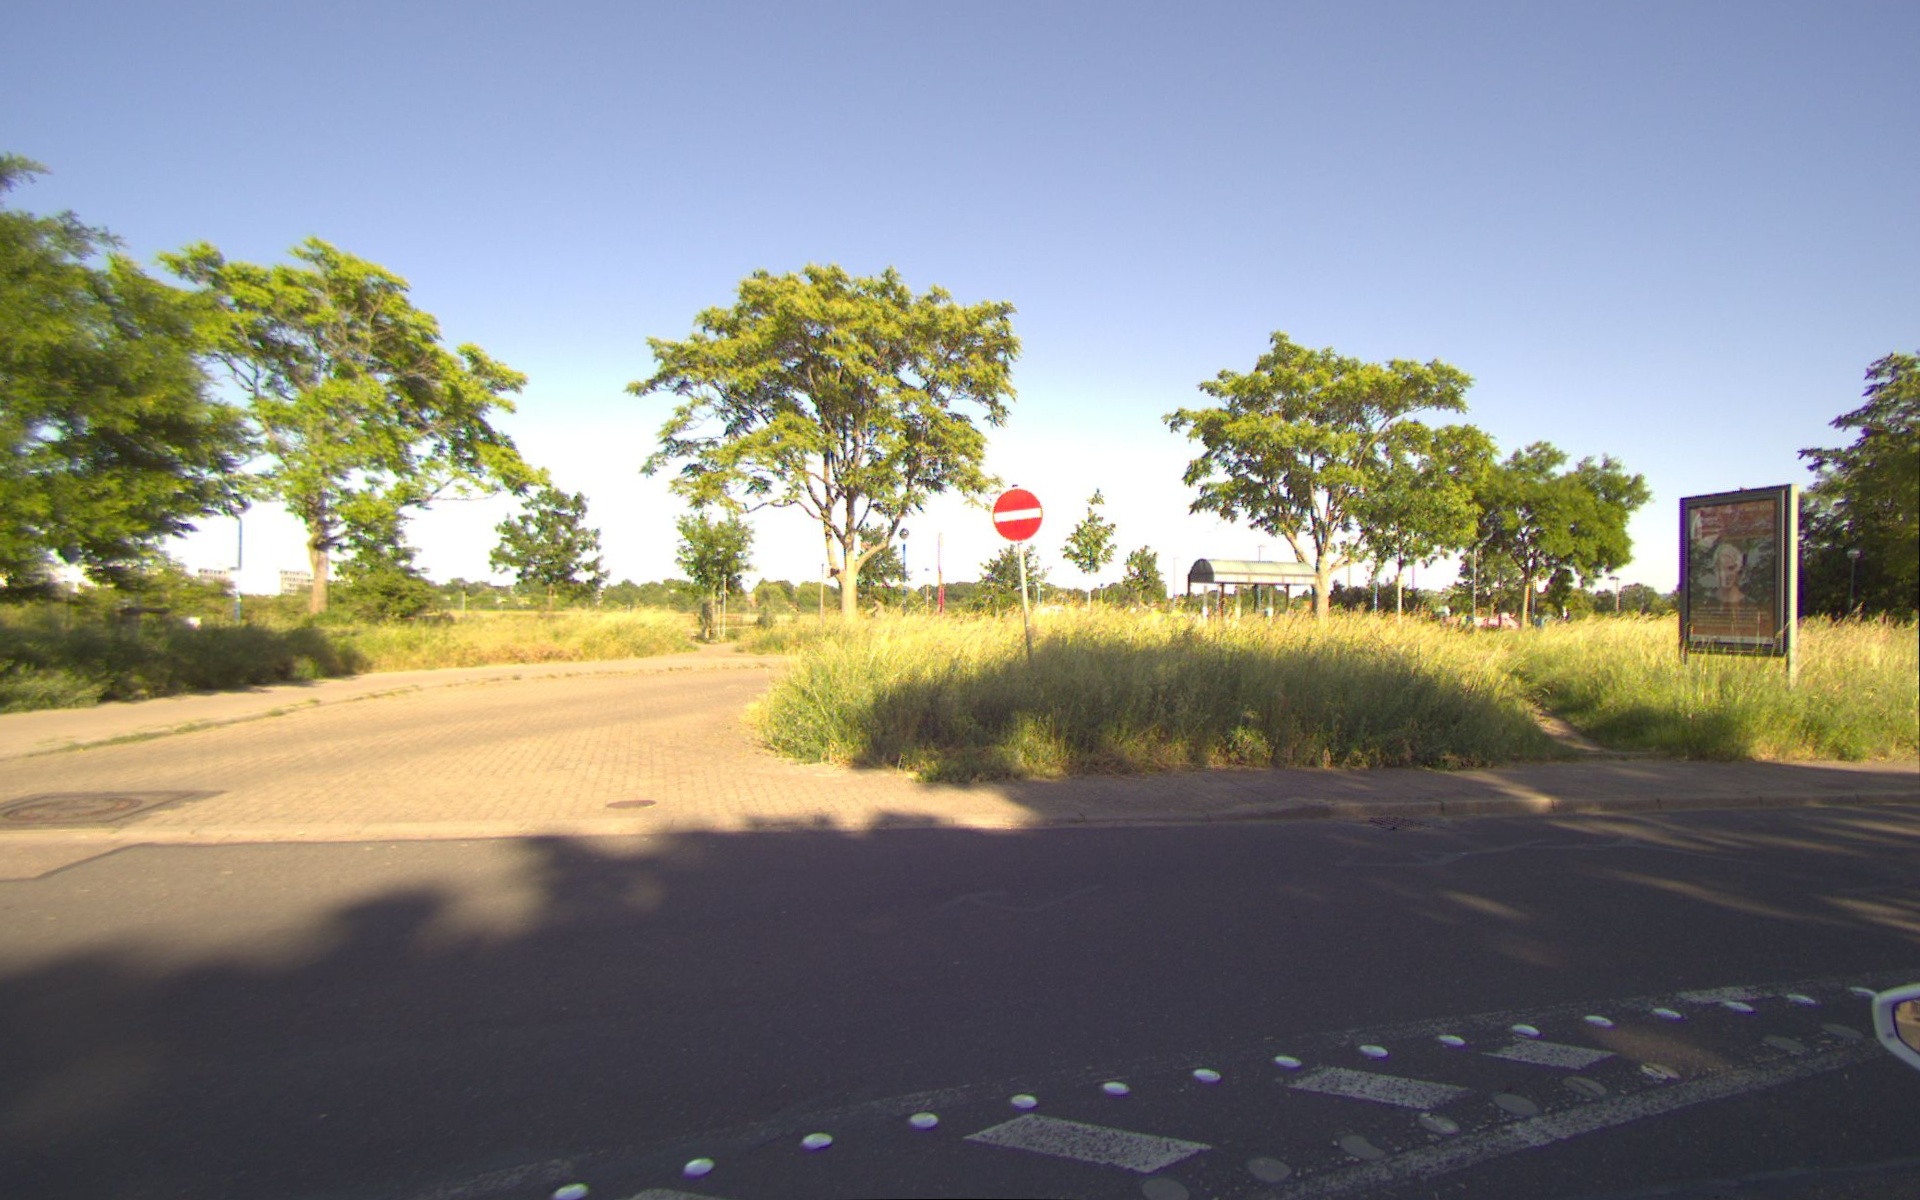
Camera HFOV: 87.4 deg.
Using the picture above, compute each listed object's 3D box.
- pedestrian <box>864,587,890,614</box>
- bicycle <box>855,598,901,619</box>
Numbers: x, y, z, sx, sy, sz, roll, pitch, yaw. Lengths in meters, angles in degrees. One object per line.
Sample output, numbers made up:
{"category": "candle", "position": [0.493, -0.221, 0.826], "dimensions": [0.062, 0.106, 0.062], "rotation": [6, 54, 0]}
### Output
{"category": "pedestrian", "position": [-3.028, 0.002, 36.476], "dimensions": [0.788, 0.953, 0.700], "rotation": [1, 0, -19]}
{"category": "bicycle", "position": [-2.989, 0.301, 36.510], "dimensions": [1.552, 0.713, 0.651], "rotation": [2, 0, -20]}
